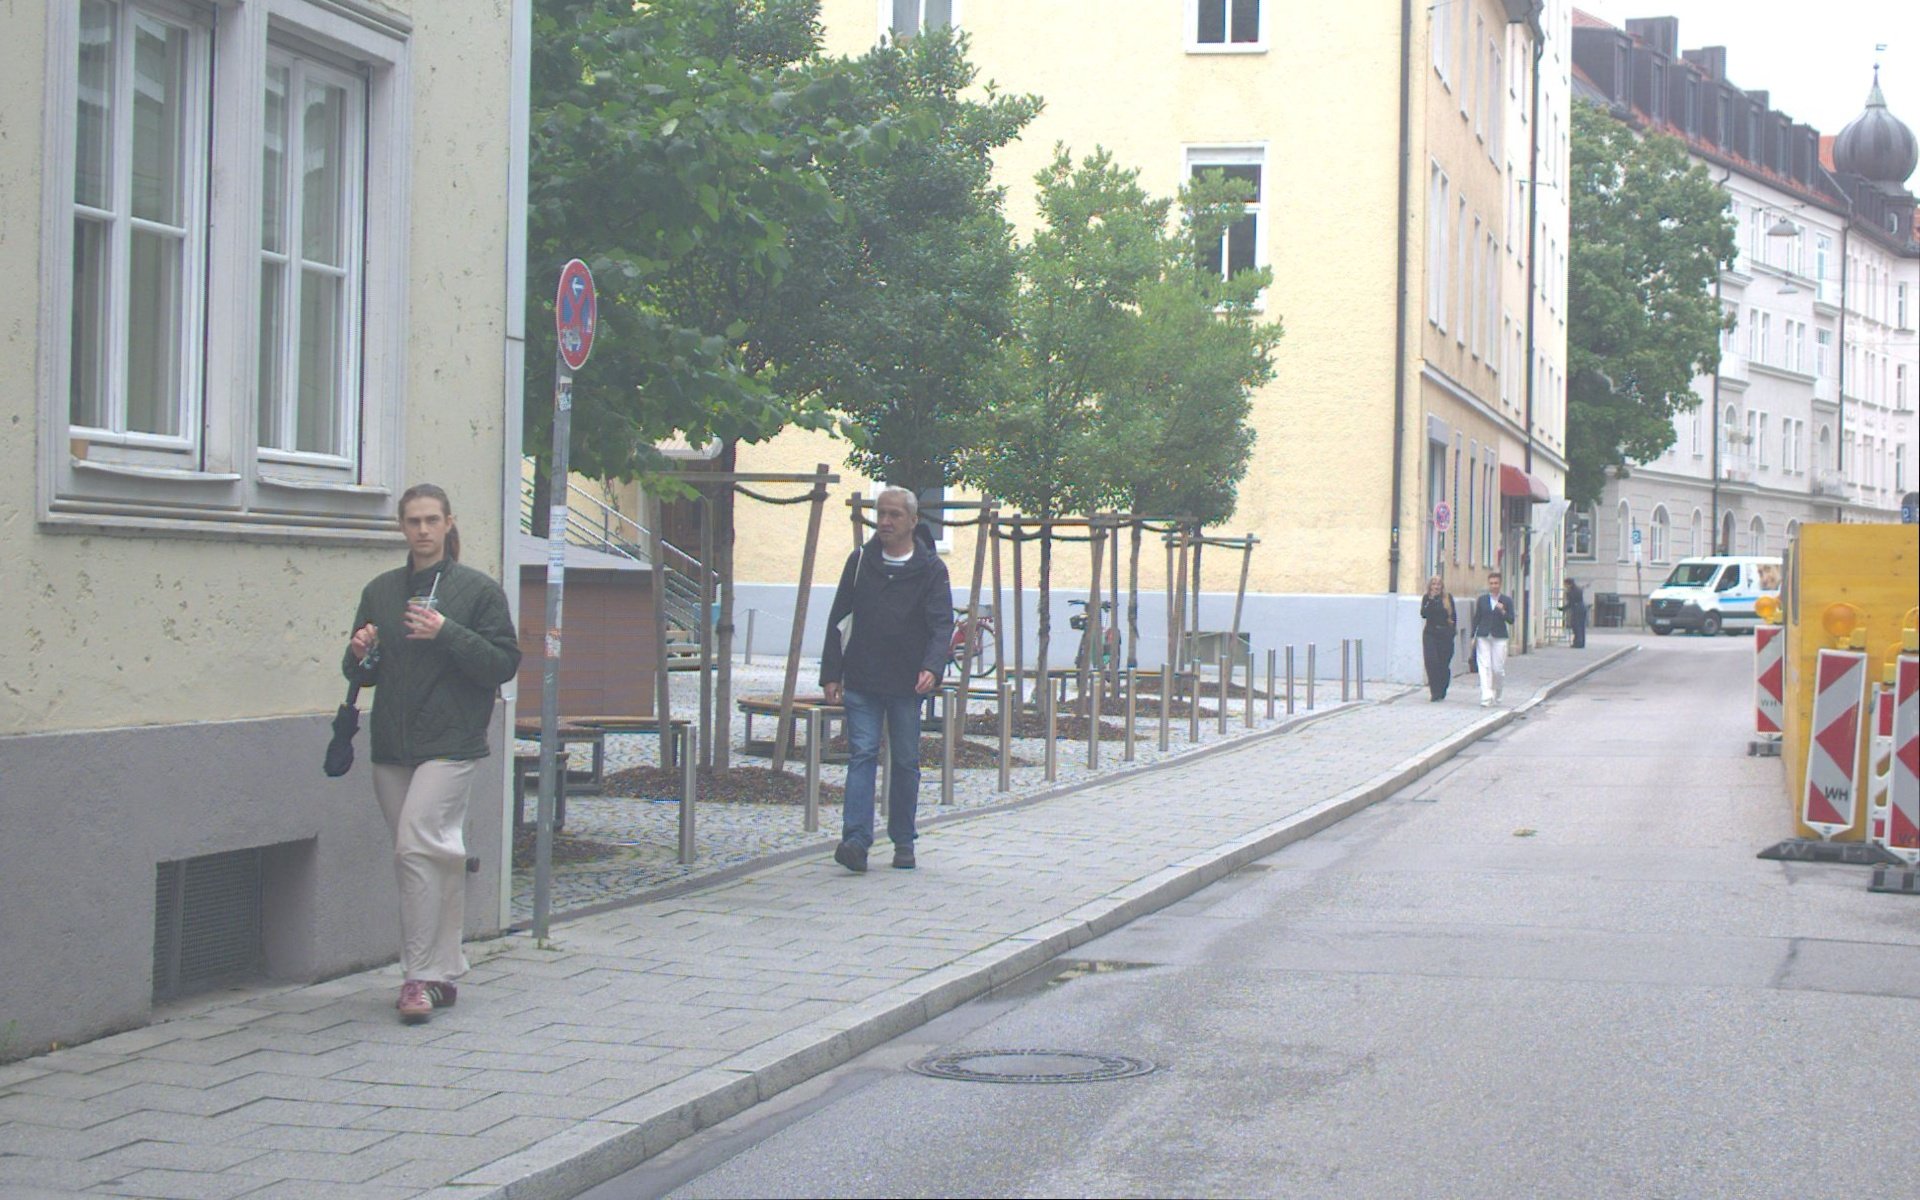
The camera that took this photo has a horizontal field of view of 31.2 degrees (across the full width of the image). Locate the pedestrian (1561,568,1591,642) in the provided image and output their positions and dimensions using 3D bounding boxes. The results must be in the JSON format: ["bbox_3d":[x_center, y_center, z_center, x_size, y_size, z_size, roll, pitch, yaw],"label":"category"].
[{"bbox_3d":[14.016,0.105,78.233,0.516,1.669,0.636,2,1,2],"label":"pedestrian"}]

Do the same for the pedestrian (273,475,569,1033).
[{"bbox_3d":[-1.684,0.464,10.821,0.647,1.671,0.723,2,0,12],"label":"pedestrian"}]

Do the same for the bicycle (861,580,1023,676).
[{"bbox_3d":[-0.238,0.364,45.603,2.045,1.193,0.569,2,1,20],"label":"bicycle"}]

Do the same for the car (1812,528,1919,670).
[{"bbox_3d":[17.293,-0.038,65.170,1.995,2.528,4.972,2,1,12],"label":"car"}]

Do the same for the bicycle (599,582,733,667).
[{"bbox_3d":[-3.949,0.323,46.202,1.657,1.065,0.597,3,1,17],"label":"bicycle"}]

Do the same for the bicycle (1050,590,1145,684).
[{"bbox_3d":[1.736,0.456,43.078,0.510,1.141,2.050,3,1,21],"label":"bicycle"}]

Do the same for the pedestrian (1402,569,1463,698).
[{"bbox_3d":[6.199,0.435,45.074,0.670,1.642,0.761,2,0,12],"label":"pedestrian"}]

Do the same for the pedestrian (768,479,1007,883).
[{"bbox_3d":[-0.338,0.377,16.817,0.868,1.875,1.134,2,0,12],"label":"pedestrian"}]

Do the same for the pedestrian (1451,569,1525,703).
[{"bbox_3d":[6.880,0.463,44.741,0.840,1.695,0.802,2,0,13],"label":"pedestrian"}]

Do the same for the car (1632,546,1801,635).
[{"bbox_3d":[21.745,-0.273,98.746,4.978,2.390,1.999,1,1,-39],"label":"car"}]
